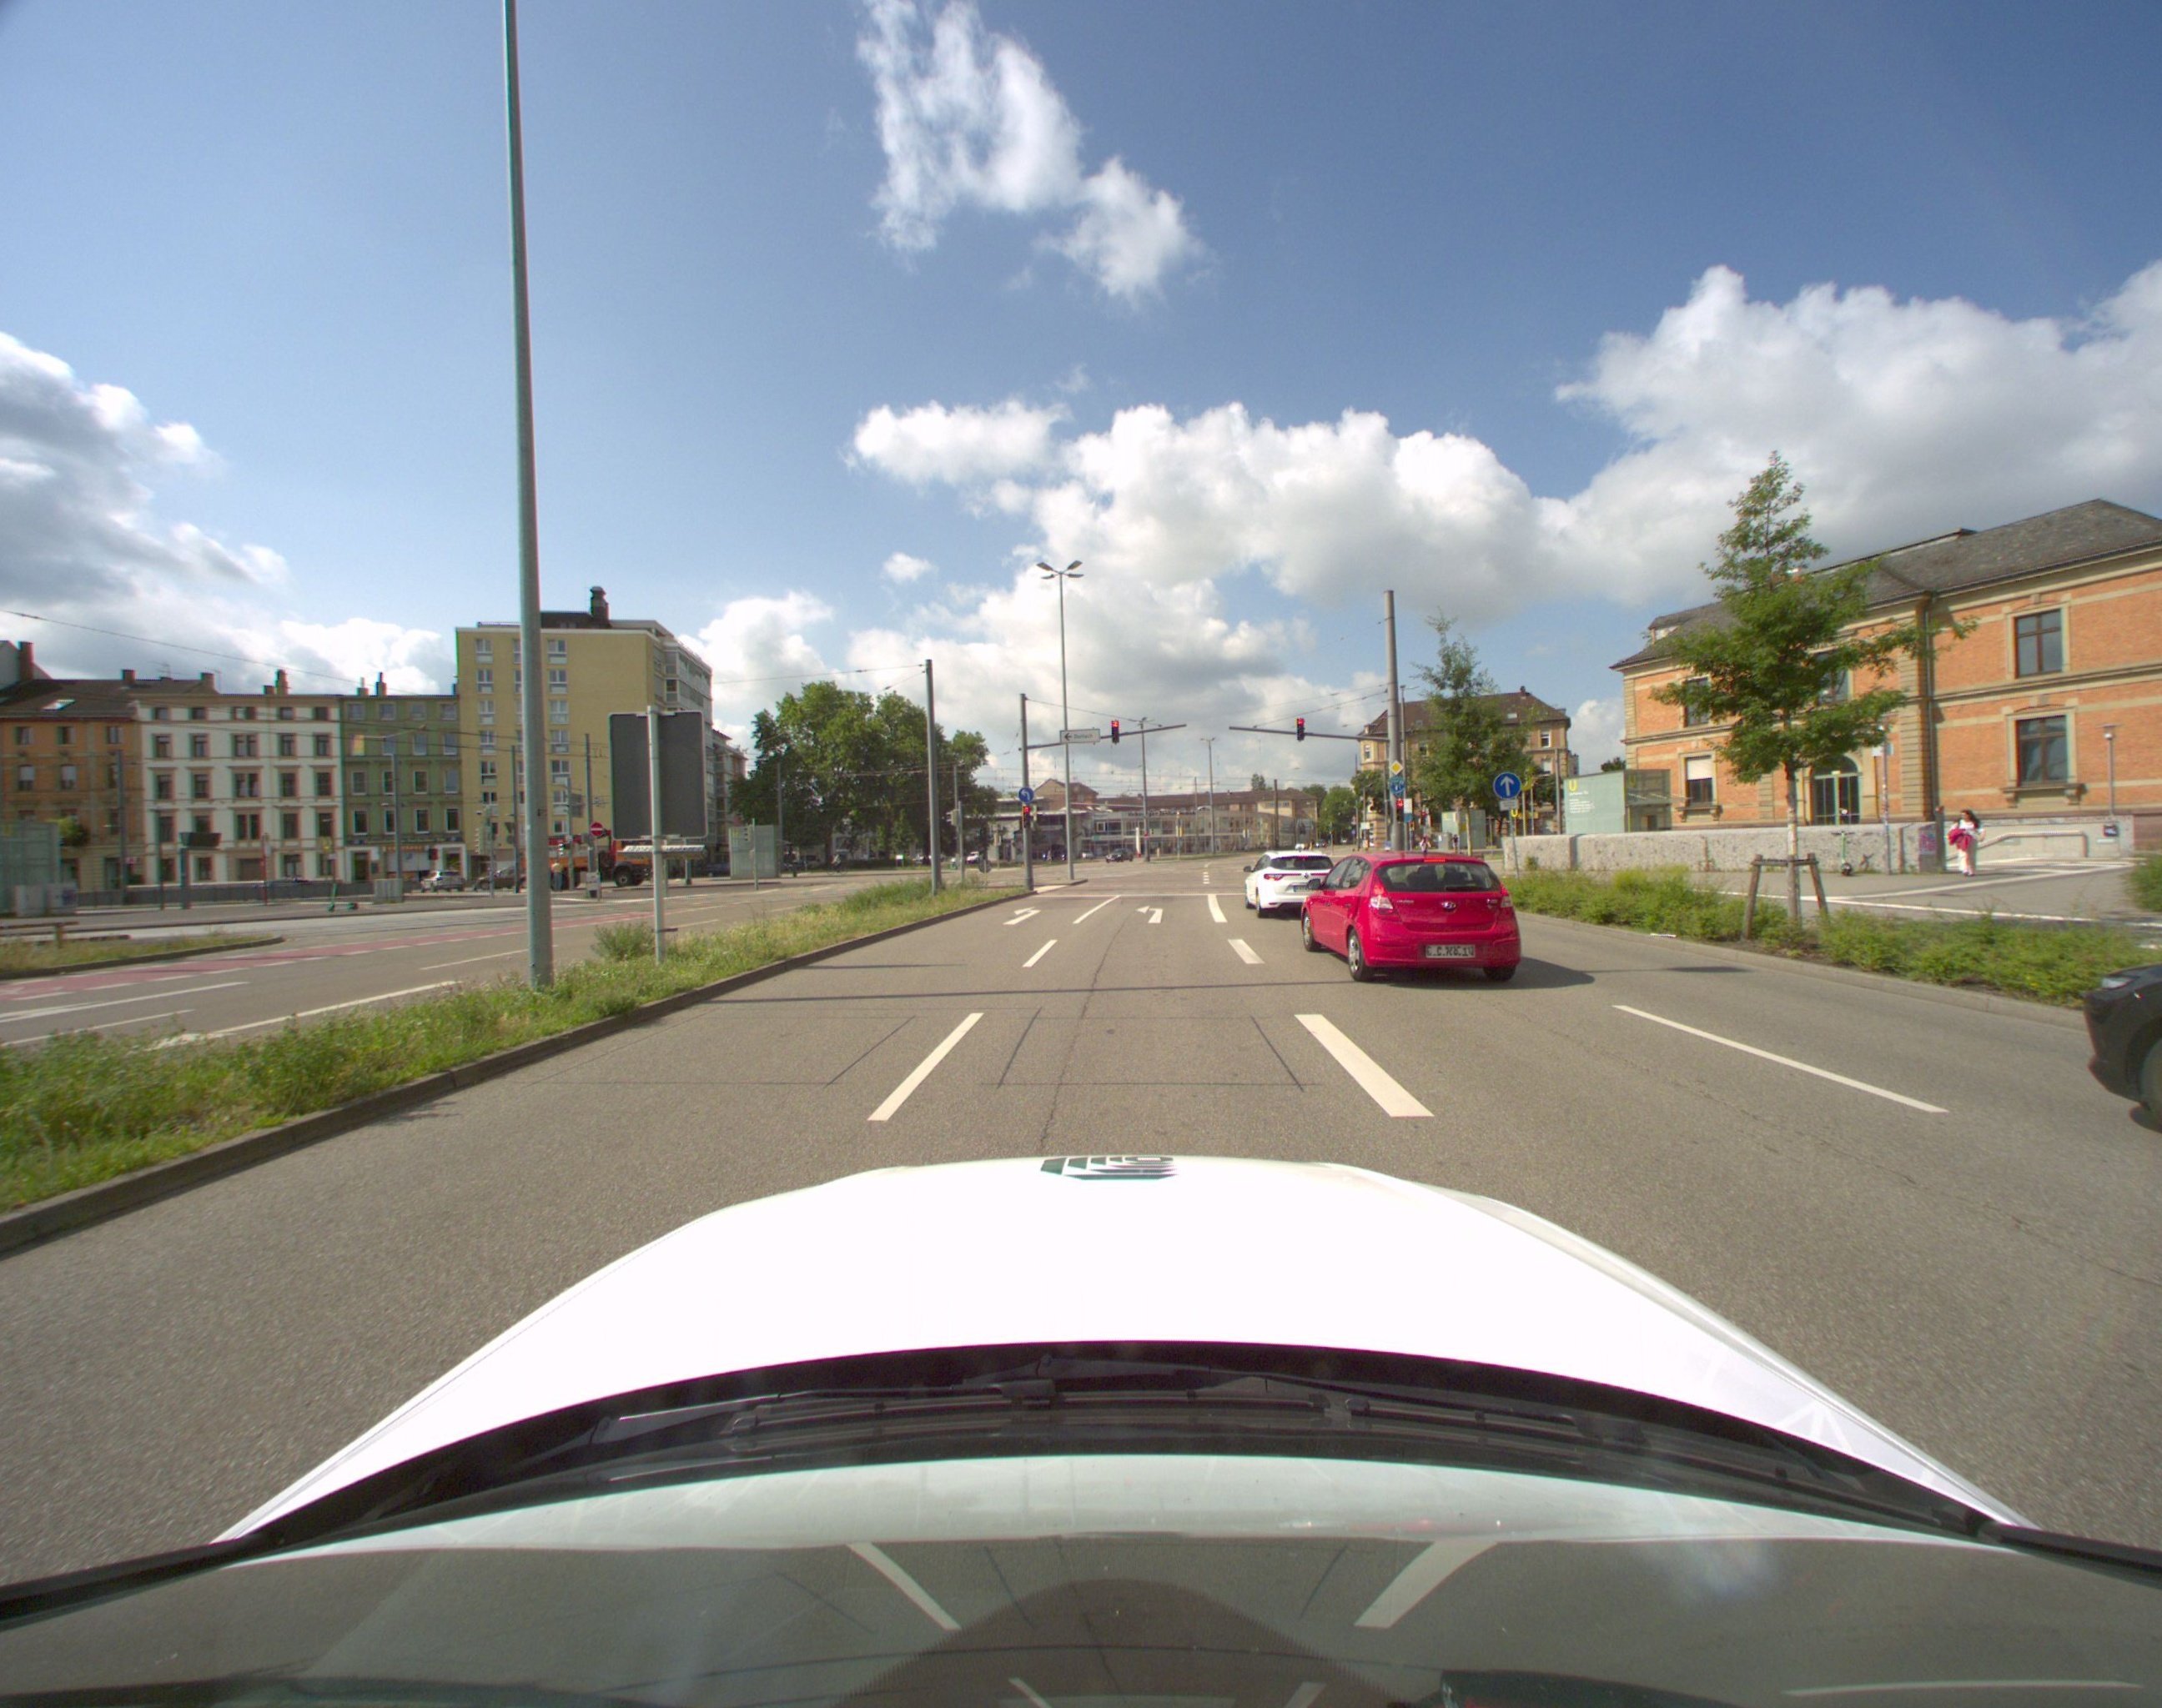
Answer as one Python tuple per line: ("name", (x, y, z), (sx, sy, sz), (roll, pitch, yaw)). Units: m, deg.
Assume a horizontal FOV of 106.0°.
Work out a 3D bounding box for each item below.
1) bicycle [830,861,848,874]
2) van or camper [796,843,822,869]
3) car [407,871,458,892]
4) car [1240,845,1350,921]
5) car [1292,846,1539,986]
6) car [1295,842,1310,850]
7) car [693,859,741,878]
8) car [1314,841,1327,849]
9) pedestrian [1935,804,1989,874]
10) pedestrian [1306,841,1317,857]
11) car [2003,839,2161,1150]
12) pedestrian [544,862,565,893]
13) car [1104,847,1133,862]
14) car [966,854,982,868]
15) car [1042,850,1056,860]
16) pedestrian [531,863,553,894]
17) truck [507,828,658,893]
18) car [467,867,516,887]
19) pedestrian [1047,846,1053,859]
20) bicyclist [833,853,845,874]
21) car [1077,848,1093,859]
("bicycle", (-21.275, 1.212, 71.740), (1.468, 1.117, 0.584), (-2, 0, -17))
("van or camper", (-31.663, 0.234, 95.052), (2.588, 2.908, 6.064), (-2, 0, -17))
("car", (-49.485, 2.115, 62.151), (3.630, 1.500, 1.708), (-2, 0, 29))
("car", (4.749, 0.572, 18.663), (1.838, 1.472, 4.344), (-2, 0, 7))
("car", (4.008, 0.655, 10.529), (1.808, 1.439, 4.073), (-1, 0, 5))
("car", (39.849, -1.447, 146.304), (1.975, 1.442, 4.023), (-2, 0, 25))
("car", (-35.593, 1.419, 79.698), (3.994, 1.662, 1.990), (-2, 0, -15))
("car", (49.339, -1.947, 167.840), (1.975, 1.574, 4.023), (-2, 0, 25))
("pedestrian", (21.889, -0.388, 20.249), (0.756, 1.686, 0.887), (0, 2, 37))
("pedestrian", (22.849, -0.526, 80.777), (0.678, 1.535, 0.667), (-2, 0, -34))
("car", (6.019, 0.658, 2.487), (1.798, 1.508, 4.209), (-1, 0, 4))
("pedestrian", (-32.218, 1.434, 49.834), (0.647, 1.868, 0.782), (-2, 0, 6))
("car", (4.052, 0.013, 87.442), (1.977, 1.530, 4.020), (-2, 0, 19))
("car", (-16.632, 1.070, 126.976), (1.987, 2.013, 3.999), (-2, 0, 0))
("car", (-4.882, 0.153, 124.556), (1.988, 1.552, 4.076), (-2, 0, -1))
("pedestrian", (-33.024, 1.489, 49.890), (0.695, 1.860, 0.820), (-2, 0, 5))
("truck", (-32.203, 0.359, 52.975), (7.928, 3.856, 2.189), (-2, 0, -15))
("car", (-45.502, 1.799, 62.852), (3.953, 1.436, 1.883), (-2, 0, 35))
("pedestrian", (-4.621, -0.245, 121.854), (0.879, 1.948, 0.888), (-2, 0, -1))
("bicyclist", (-21.293, 0.824, 71.719), (0.887, 1.871, 0.760), (-2, 0, -16))
("car", (0.590, -0.046, 125.481), (1.991, 1.596, 3.992), (-2, 0, -6))
